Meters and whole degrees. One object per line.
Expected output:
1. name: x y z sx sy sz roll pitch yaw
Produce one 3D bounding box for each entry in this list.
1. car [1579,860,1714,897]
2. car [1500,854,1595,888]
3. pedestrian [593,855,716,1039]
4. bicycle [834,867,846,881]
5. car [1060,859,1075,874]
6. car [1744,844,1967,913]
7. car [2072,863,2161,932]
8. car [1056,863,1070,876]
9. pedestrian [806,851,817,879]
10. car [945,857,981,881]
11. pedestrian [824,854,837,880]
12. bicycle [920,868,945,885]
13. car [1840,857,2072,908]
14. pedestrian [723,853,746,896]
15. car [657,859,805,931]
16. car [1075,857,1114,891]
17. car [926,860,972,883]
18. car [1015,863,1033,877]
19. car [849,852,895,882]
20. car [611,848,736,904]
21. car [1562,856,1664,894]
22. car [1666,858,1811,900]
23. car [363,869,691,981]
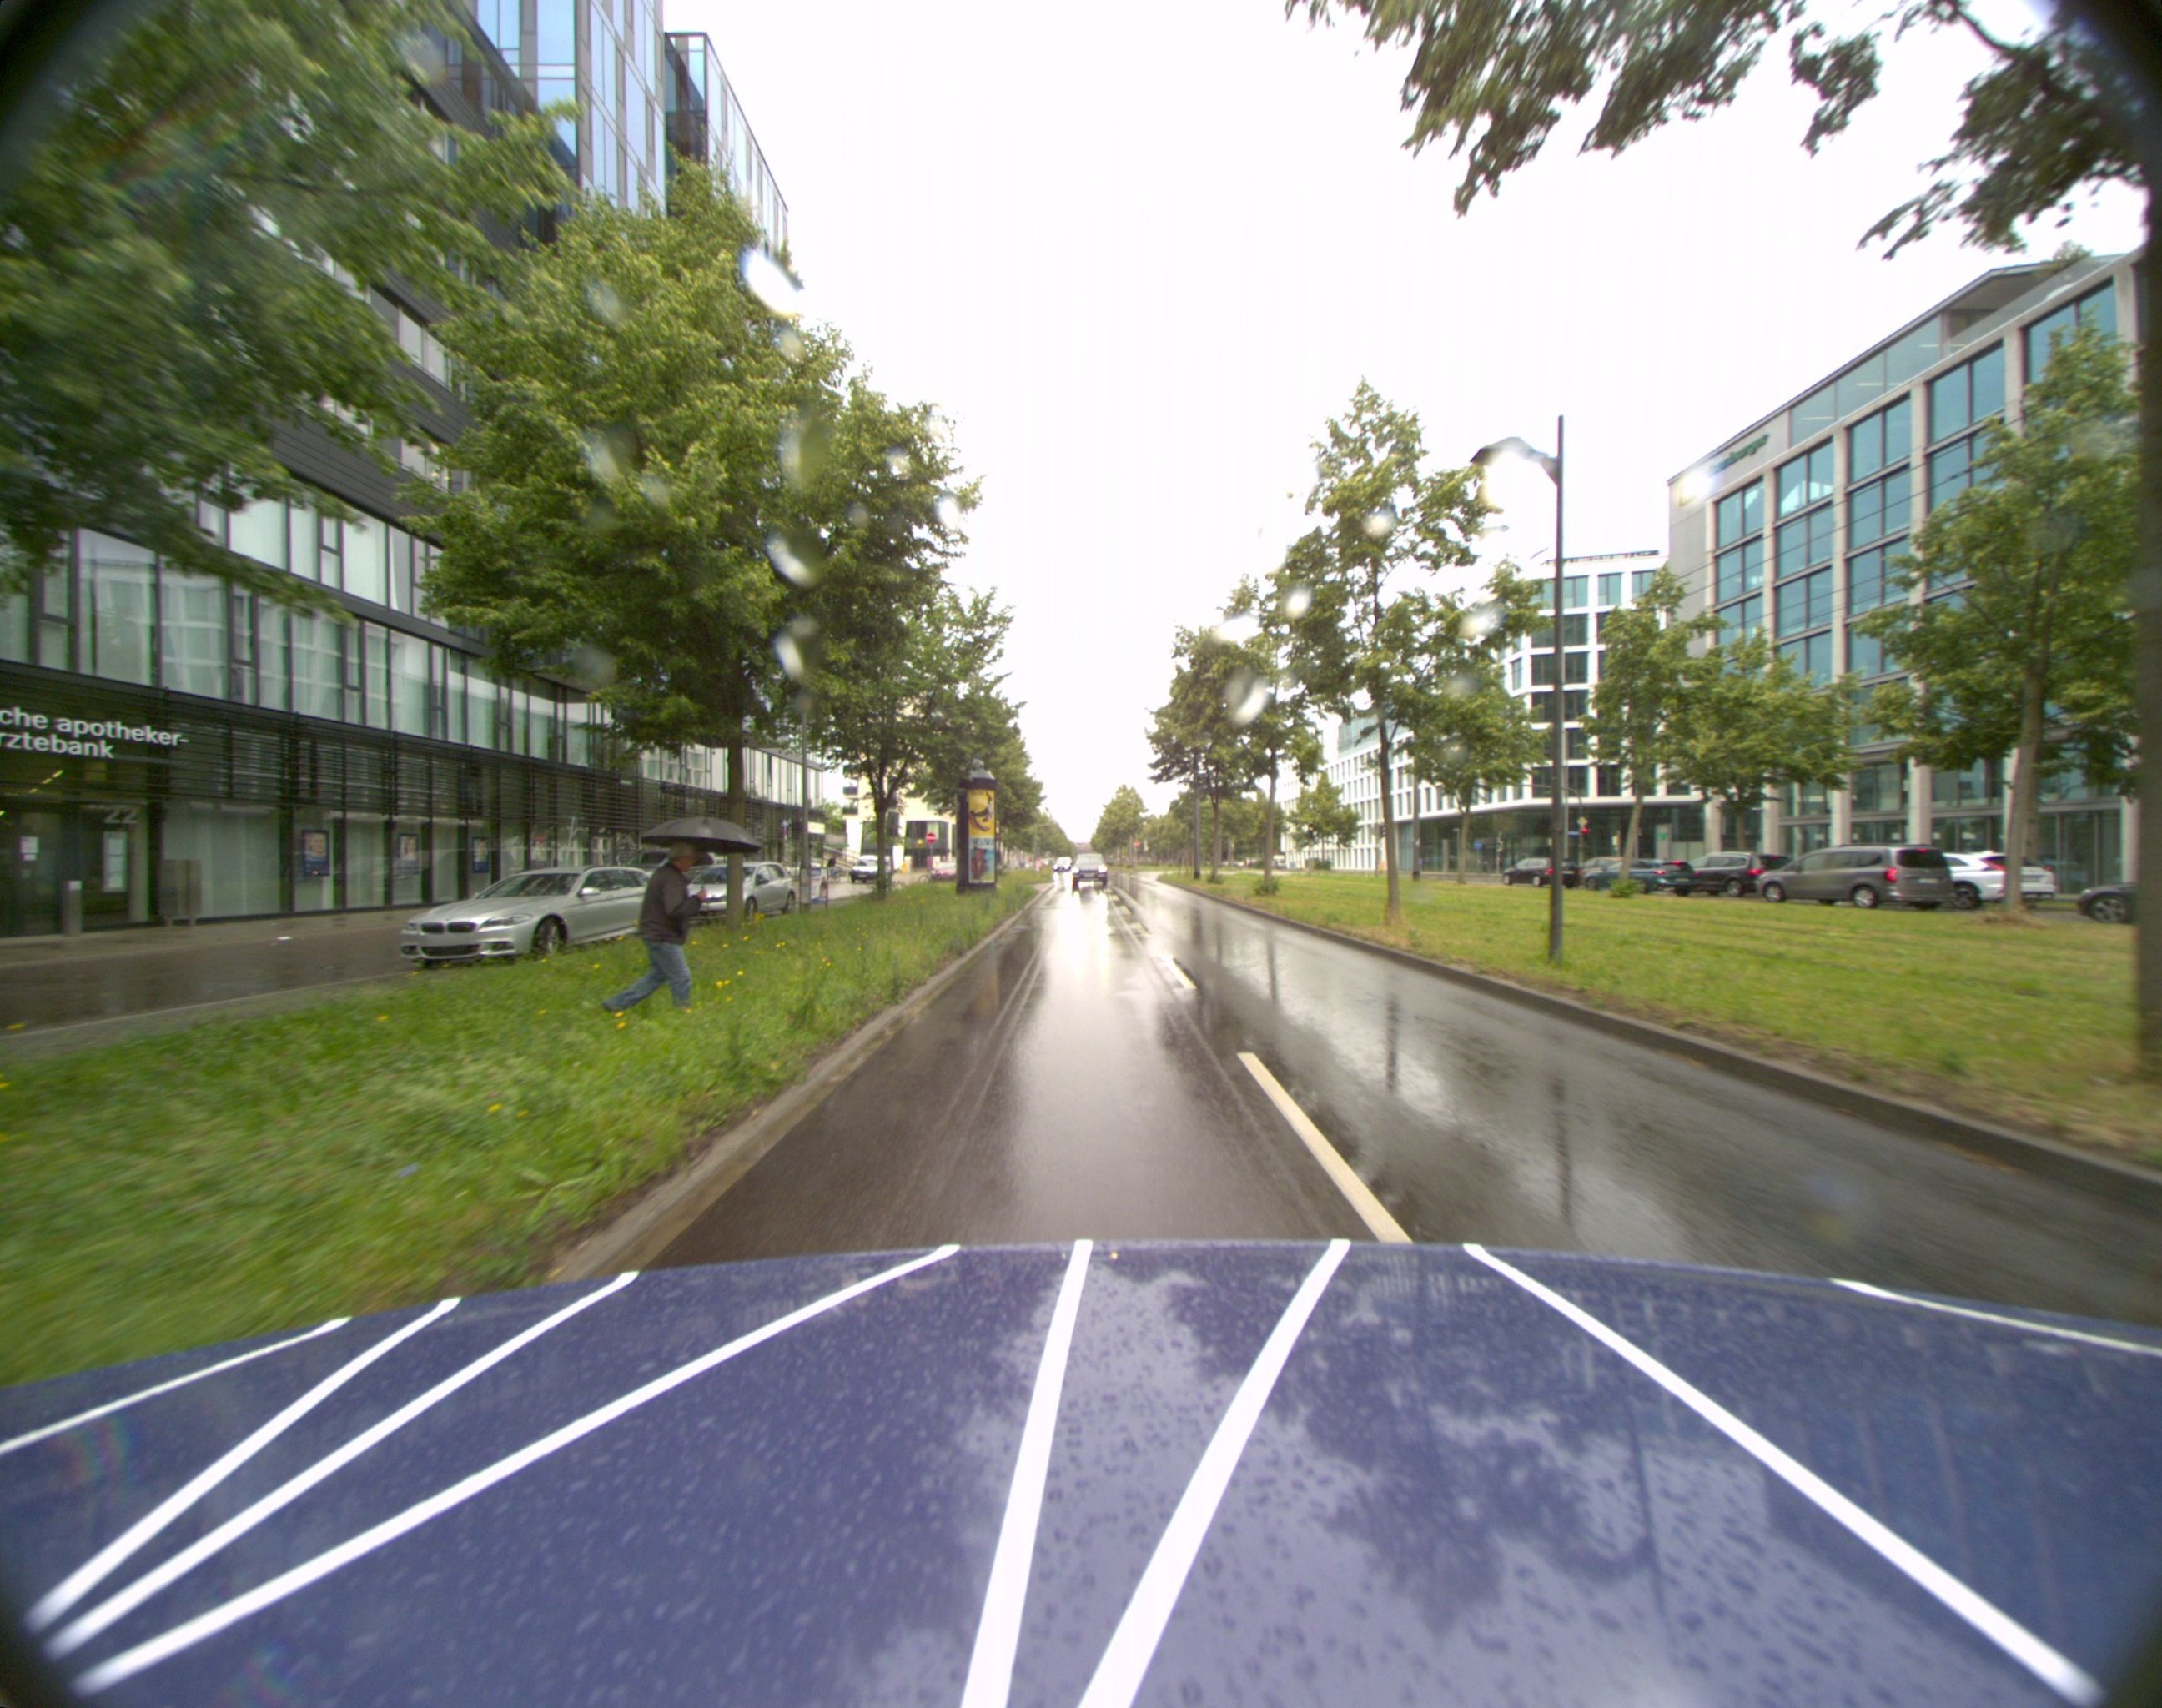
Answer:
1. car: 22.168 0.984 30.035 1.956 1.377 4.474 0 -2 -1
2. car: 22.775 0.829 37.320 1.956 1.549 4.465 0 -1 0
3. pedestrian: -3.618 0.753 6.497 0.643 1.484 0.700 -1 0 -2
4. bicycle: -15.586 1.273 49.120 0.437 0.892 1.232 0 -2 -4
5. car: -1.754 1.648 99.167 1.757 1.913 4.002 0 -2 1
6. car: 22.538 0.701 22.436 1.956 1.837 4.544 0 -1 0
7. car: 22.501 0.822 14.182 1.956 1.377 4.606 0 -2 0
8. car: -2.200 1.960 93.460 1.687 1.520 3.970 0 -2 -1
9. pedestrian: -17.824 0.734 50.241 0.508 1.821 0.575 1 -2 -36
10. car: -8.627 1.126 55.878 1.999 1.697 4.219 0 -2 0
11. pedestrian: -16.135 0.846 48.923 0.627 1.694 0.657 0 -2 -5
12. bicycle: -8.174 1.244 41.772 1.458 0.911 0.434 -2 -2 33
13. car: 25.923 0.854 22.792 1.956 1.377 4.273 0 -2 -1
14. pedestrian: -14.204 0.861 31.197 0.581 1.728 0.803 -1 -2 -2
15. car: -8.582 0.998 19.086 1.765 1.586 4.102 0 -2 1
16. car: 0.739 0.986 39.815 1.928 1.650 4.716 0 0 2
17. car: -8.534 1.103 49.526 1.998 1.446 4.960 0 0 1
18. car: -7.262 2.018 97.040 1.999 1.697 4.840 0 -2 0
19. car: -13.831 0.850 50.489 1.898 1.854 4.723 0 -1 -2
20. car: -15.074 0.756 28.515 1.999 1.909 5.148 -1 0 -2
21. car: 25.816 0.979 37.060 1.956 1.684 4.271 0 0 -1
22. car: 25.782 1.011 30.021 1.956 1.530 4.273 0 -2 -1
23. car: -9.052 1.039 13.205 1.999 1.436 5.236 -1 0 -2
